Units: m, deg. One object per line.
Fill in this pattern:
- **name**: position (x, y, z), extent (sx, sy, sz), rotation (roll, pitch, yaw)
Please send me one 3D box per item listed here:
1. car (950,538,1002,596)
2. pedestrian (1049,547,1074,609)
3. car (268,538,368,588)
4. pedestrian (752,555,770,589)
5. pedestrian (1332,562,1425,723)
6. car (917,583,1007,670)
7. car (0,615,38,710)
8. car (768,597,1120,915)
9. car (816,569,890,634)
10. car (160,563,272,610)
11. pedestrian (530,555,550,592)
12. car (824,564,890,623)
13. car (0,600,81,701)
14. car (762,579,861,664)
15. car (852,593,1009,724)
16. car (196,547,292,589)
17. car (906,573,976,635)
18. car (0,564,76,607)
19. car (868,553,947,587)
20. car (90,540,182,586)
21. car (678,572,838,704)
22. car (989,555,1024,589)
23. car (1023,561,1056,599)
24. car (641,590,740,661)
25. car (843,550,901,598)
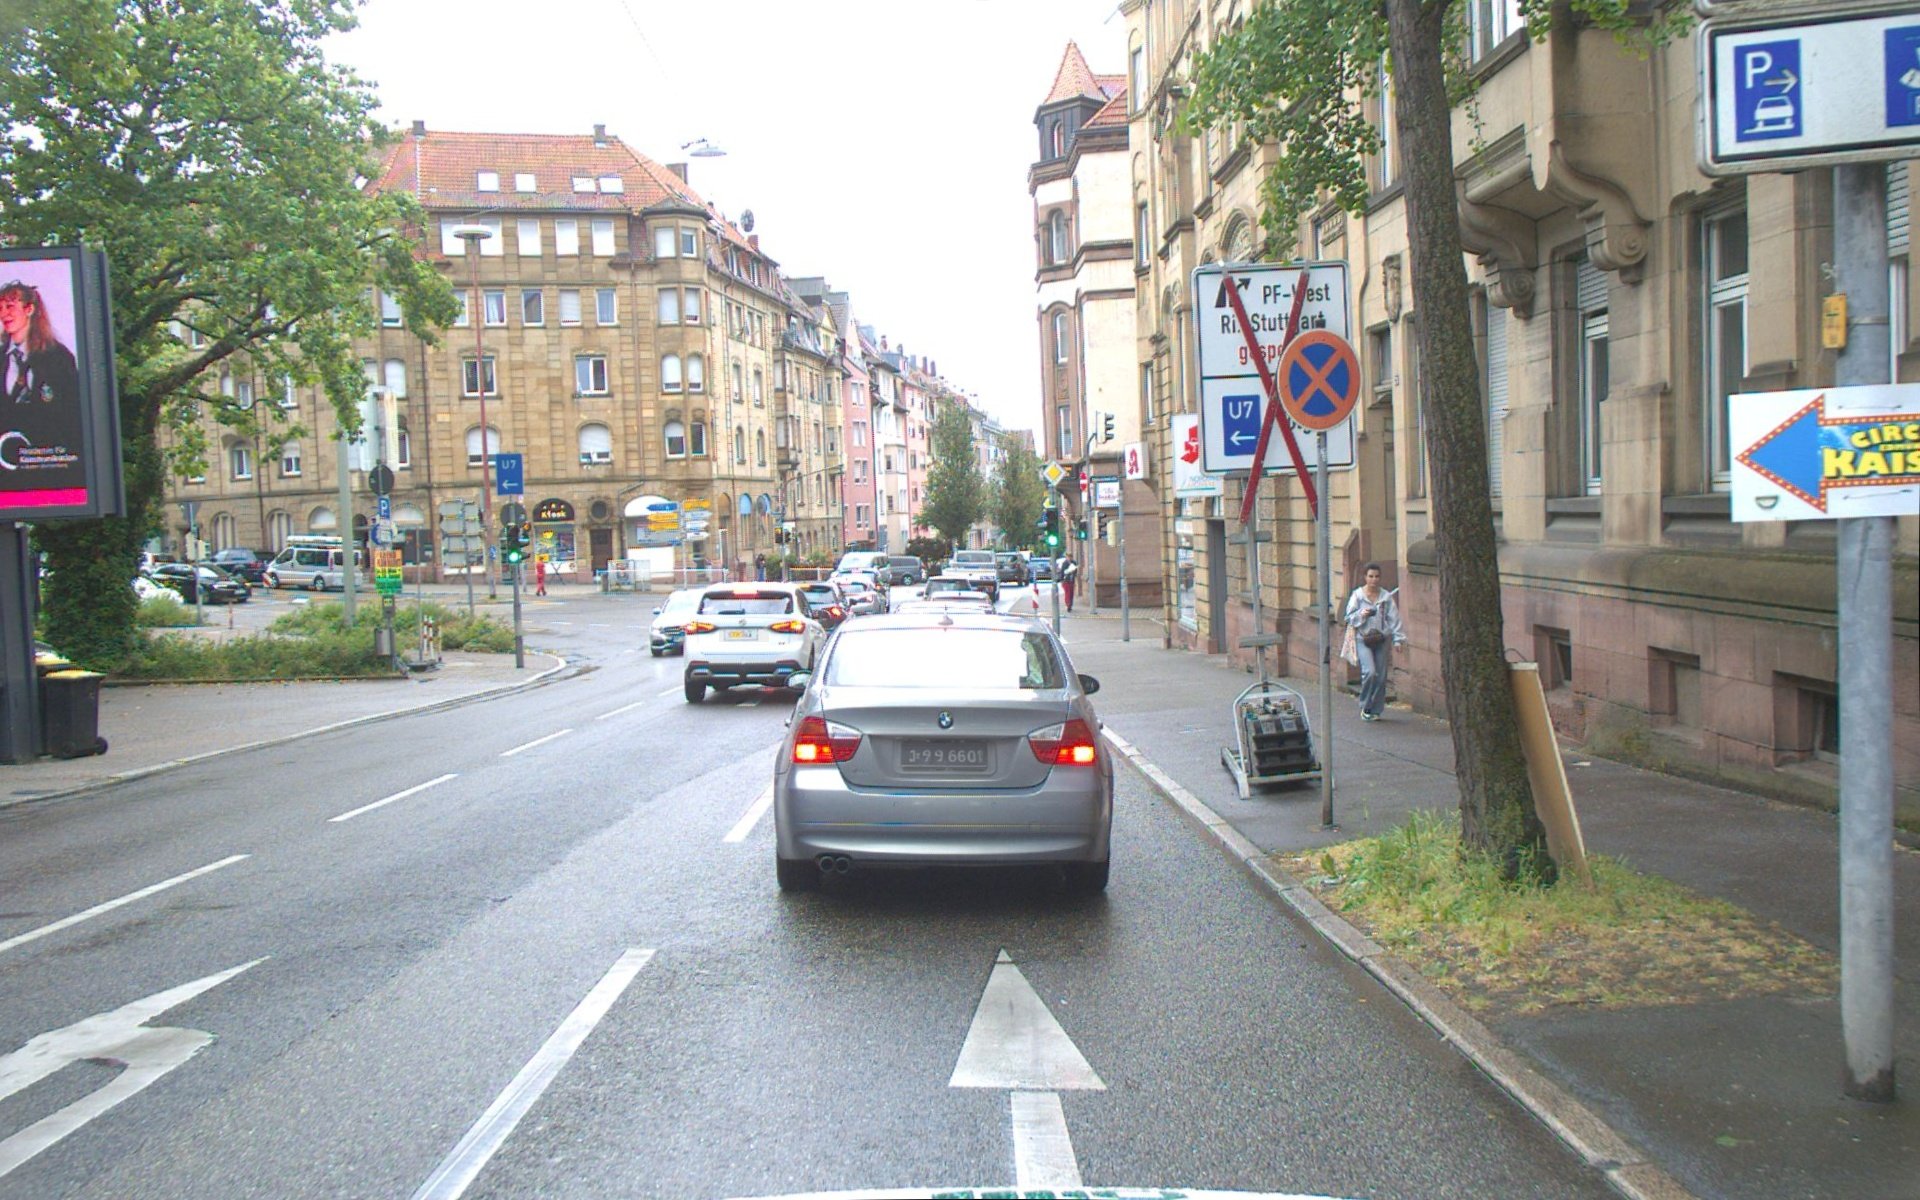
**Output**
- **car**: position (0.580, -1.247, 64.109), extent (1.953, 2.143, 4.000), rotation (0, 0, 0)
- **pedestrian**: position (3.221, -0.703, 52.520), extent (0.727, 1.943, 0.659), rotation (-1, 0, -1)
- **car**: position (-29.272, -1.718, 75.388), extent (4.197, 2.138, 1.997), rotation (2, 2, 28)
- **pedestrian**: position (-9.590, -1.365, 79.893), extent (0.716, 1.605, 0.528), rotation (-1, 0, 8)
- **pedestrian**: position (4.202, 0.417, 16.638), extent (0.618, 1.534, 0.693), rotation (-5, 0, -1)
- **car**: position (0.068, 0.449, 30.827), extent (1.562, 1.490, 4.001), rotation (-1, 1, 1)
- **car**: position (-16.937, 1.020, 26.101), extent (3.915, 1.476, 1.758), rotation (-1, 0, -21)
- **car**: position (-0.047, 0.707, 9.316), extent (1.590, 1.407, 3.616), rotation (0, 1, 1)
- **car**: position (-2.928, 0.018, 46.043), extent (1.723, 1.737, 4.001), rotation (0, 1, 1)
- **car**: position (-29.316, -0.573, 65.120), extent (4.157, 1.756, 1.996), rotation (1, 2, 31)
- **pedestrian**: position (-18.356, -1.156, 72.307), extent (0.525, 1.605, 0.720), rotation (-2, 0, 15)
- **car**: position (-3.160, -0.214, 51.420), extent (1.723, 1.737, 4.001), rotation (0, 1, 1)
- **car**: position (-17.532, 0.890, 28.462), extent (4.068, 1.682, 1.756), rotation (-1, 0, -24)
- **car**: position (-3.170, 0.423, 35.963), extent (1.723, 1.737, 4.001), rotation (0, 1, 1)
- **car**: position (-0.296, 0.635, 20.124), extent (1.723, 1.407, 4.001), rotation (0, 1, 1)
- **car**: position (-33.623, -1.515, 77.638), extent (4.197, 1.870, 1.997), rotation (2, 2, 28)
- **car**: position (-0.469, 0.072, 44.374), extent (1.723, 1.594, 4.001), rotation (0, 1, 2)
- **car**: position (-40.341, -0.635, 71.249), extent (4.155, 1.756, 1.997), rotation (0, 3, 29)
- **car**: position (-3.440, -1.997, 109.231), extent (5.071, 2.049, 2.698), rotation (1, 0, -1)
- **car**: position (-40.229, -1.848, 80.751), extent (4.197, 2.138, 1.997), rotation (2, 2, 28)
- **car**: position (-2.854, 0.474, 24.148), extent (1.830, 1.653, 4.000), rotation (-2, 2, -1)
- **car**: position (2.320, -1.404, 82.963), extent (1.689, 1.579, 4.001), rotation (1, 0, 2)
- **car**: position (4.536, -1.113, 94.192), extent (1.689, 2.049, 4.002), rotation (1, 0, 5)
- **car**: position (-6.687, 0.585, 41.466), extent (1.703, 1.553, 4.471), rotation (-4, 0, -1)
- **car**: position (-3.750, -1.128, 71.144), extent (1.724, 1.959, 4.327), rotation (-1, 1, 7)
